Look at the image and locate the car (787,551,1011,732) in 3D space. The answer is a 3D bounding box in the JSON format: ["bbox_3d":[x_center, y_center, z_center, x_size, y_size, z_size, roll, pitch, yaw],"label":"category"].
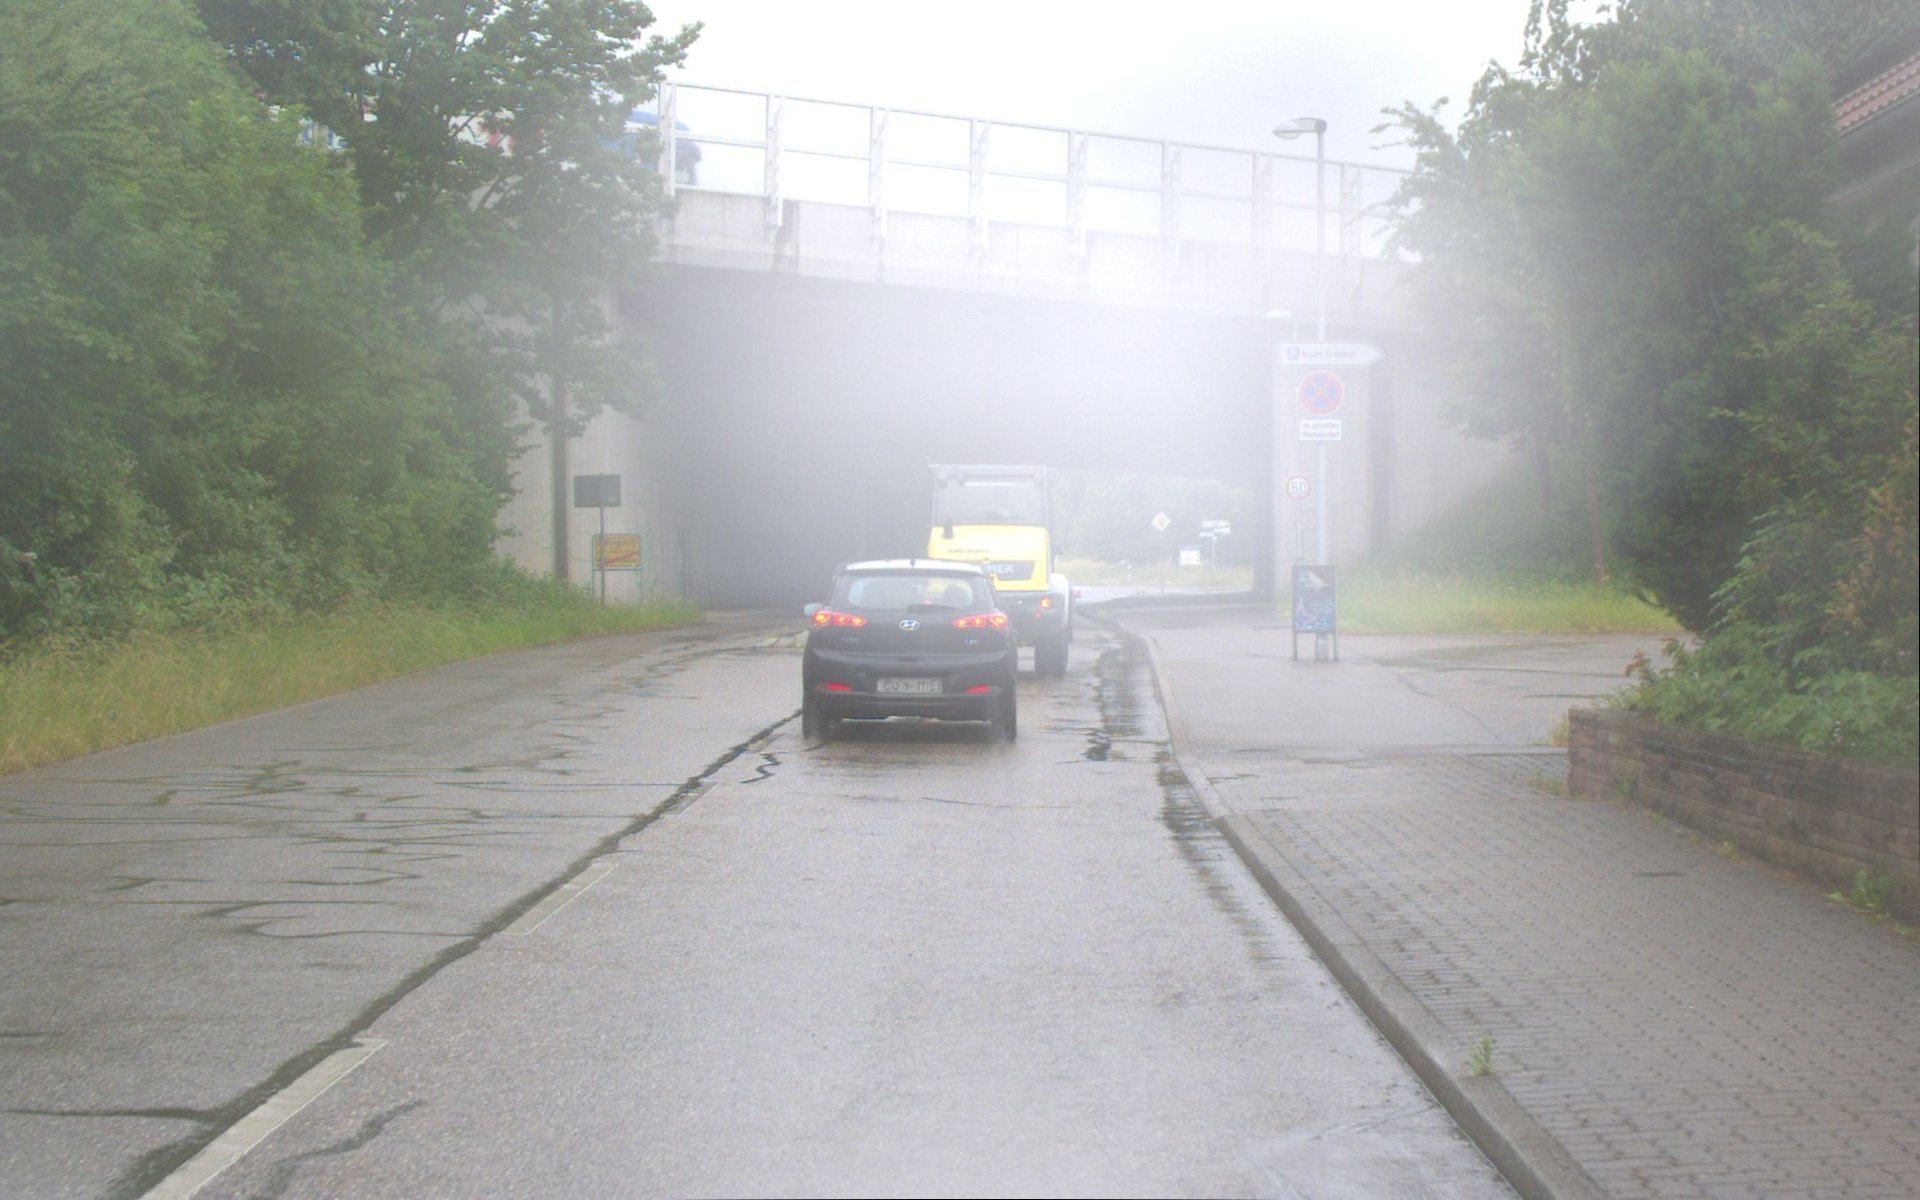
[{"bbox_3d":[-0.453,0.306,28.703,1.708,1.373,4.000,1,0,1],"label":"car"}]

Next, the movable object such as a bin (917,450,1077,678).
[{"bbox_3d":[0.438,-0.422,40.970,1.761,2.539,4.239,1,0,0],"label":"movable object such as a bin"}]
